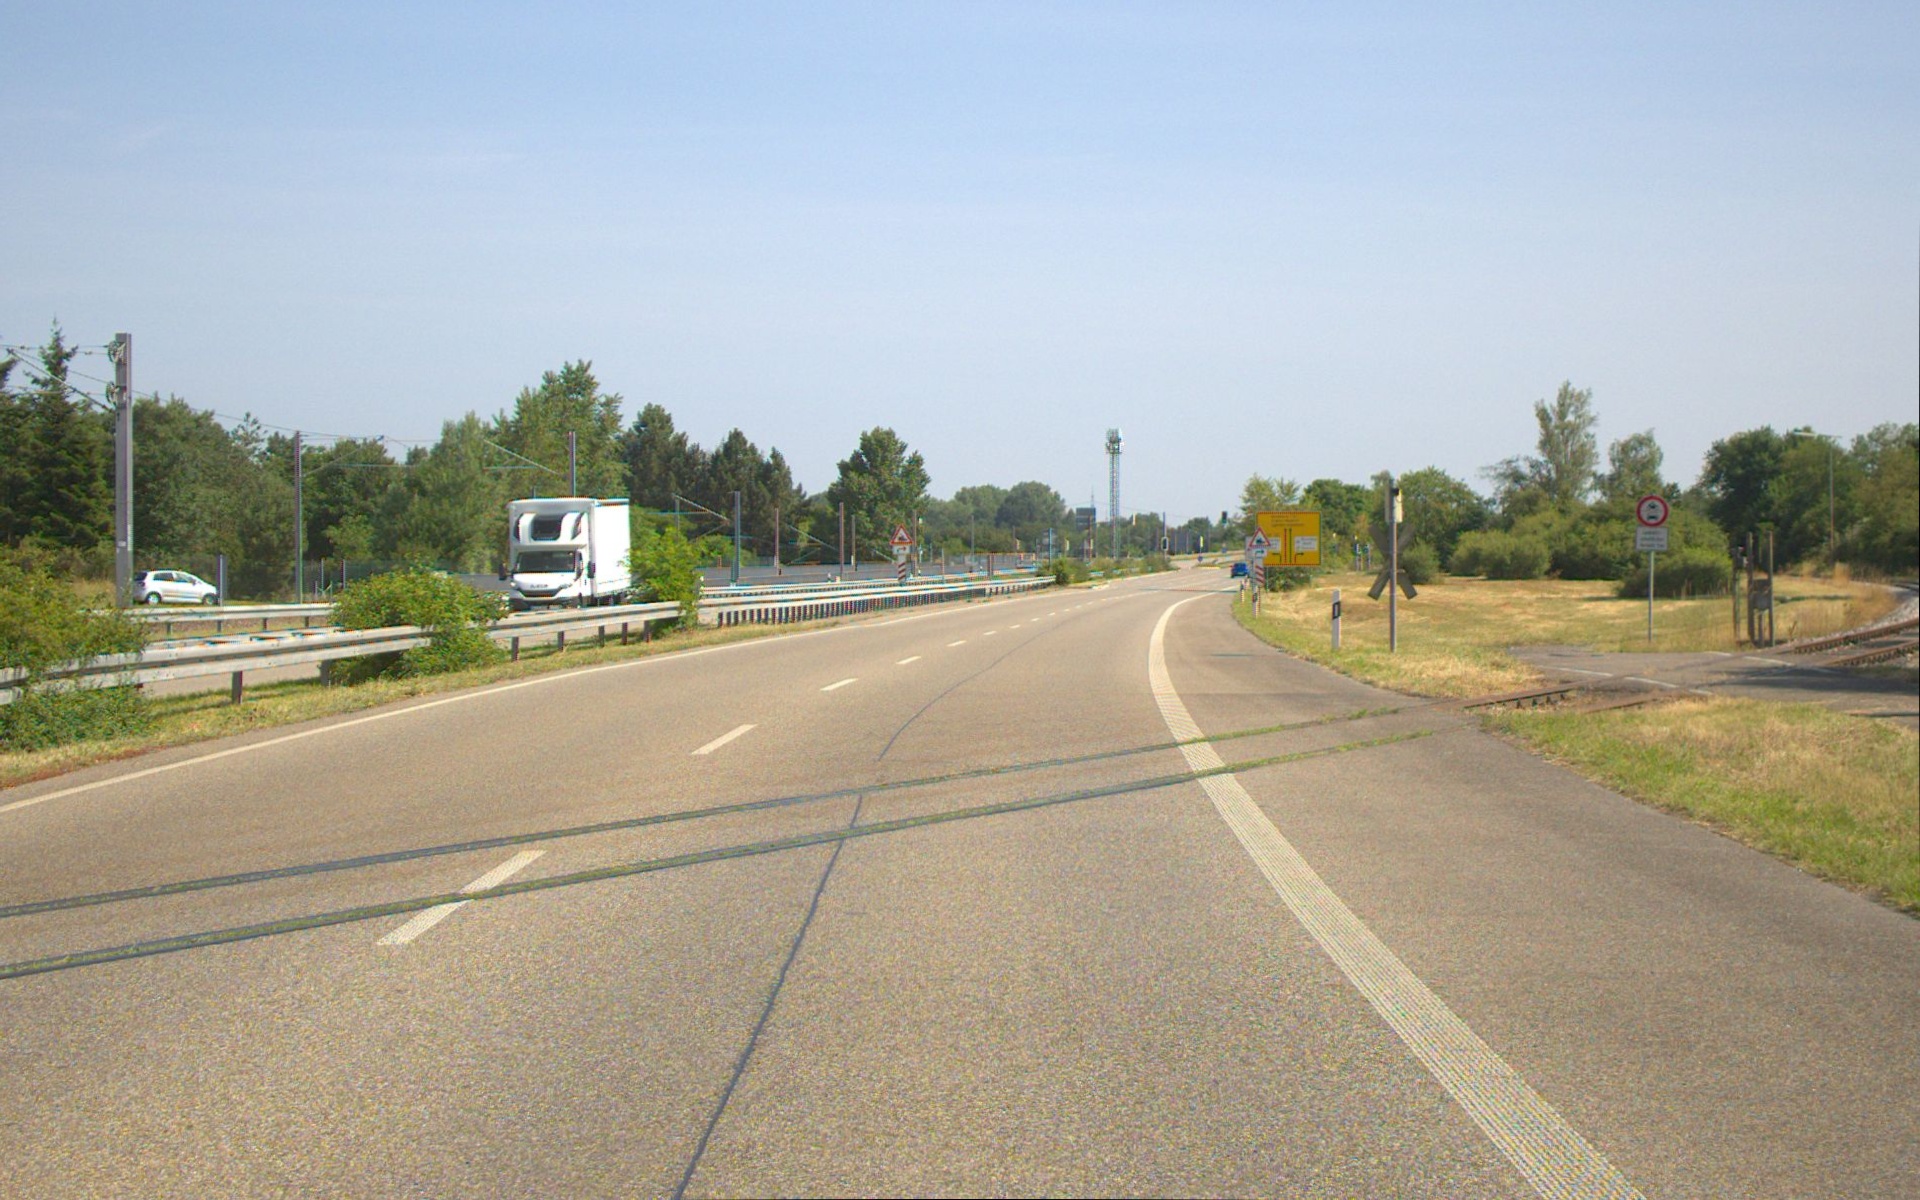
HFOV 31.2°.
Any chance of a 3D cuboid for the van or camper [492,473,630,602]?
[{"bbox_3d":[-11.779,-1.858,102.292,2.876,3.668,8.644,0,1,1],"label":"van or camper"}]
